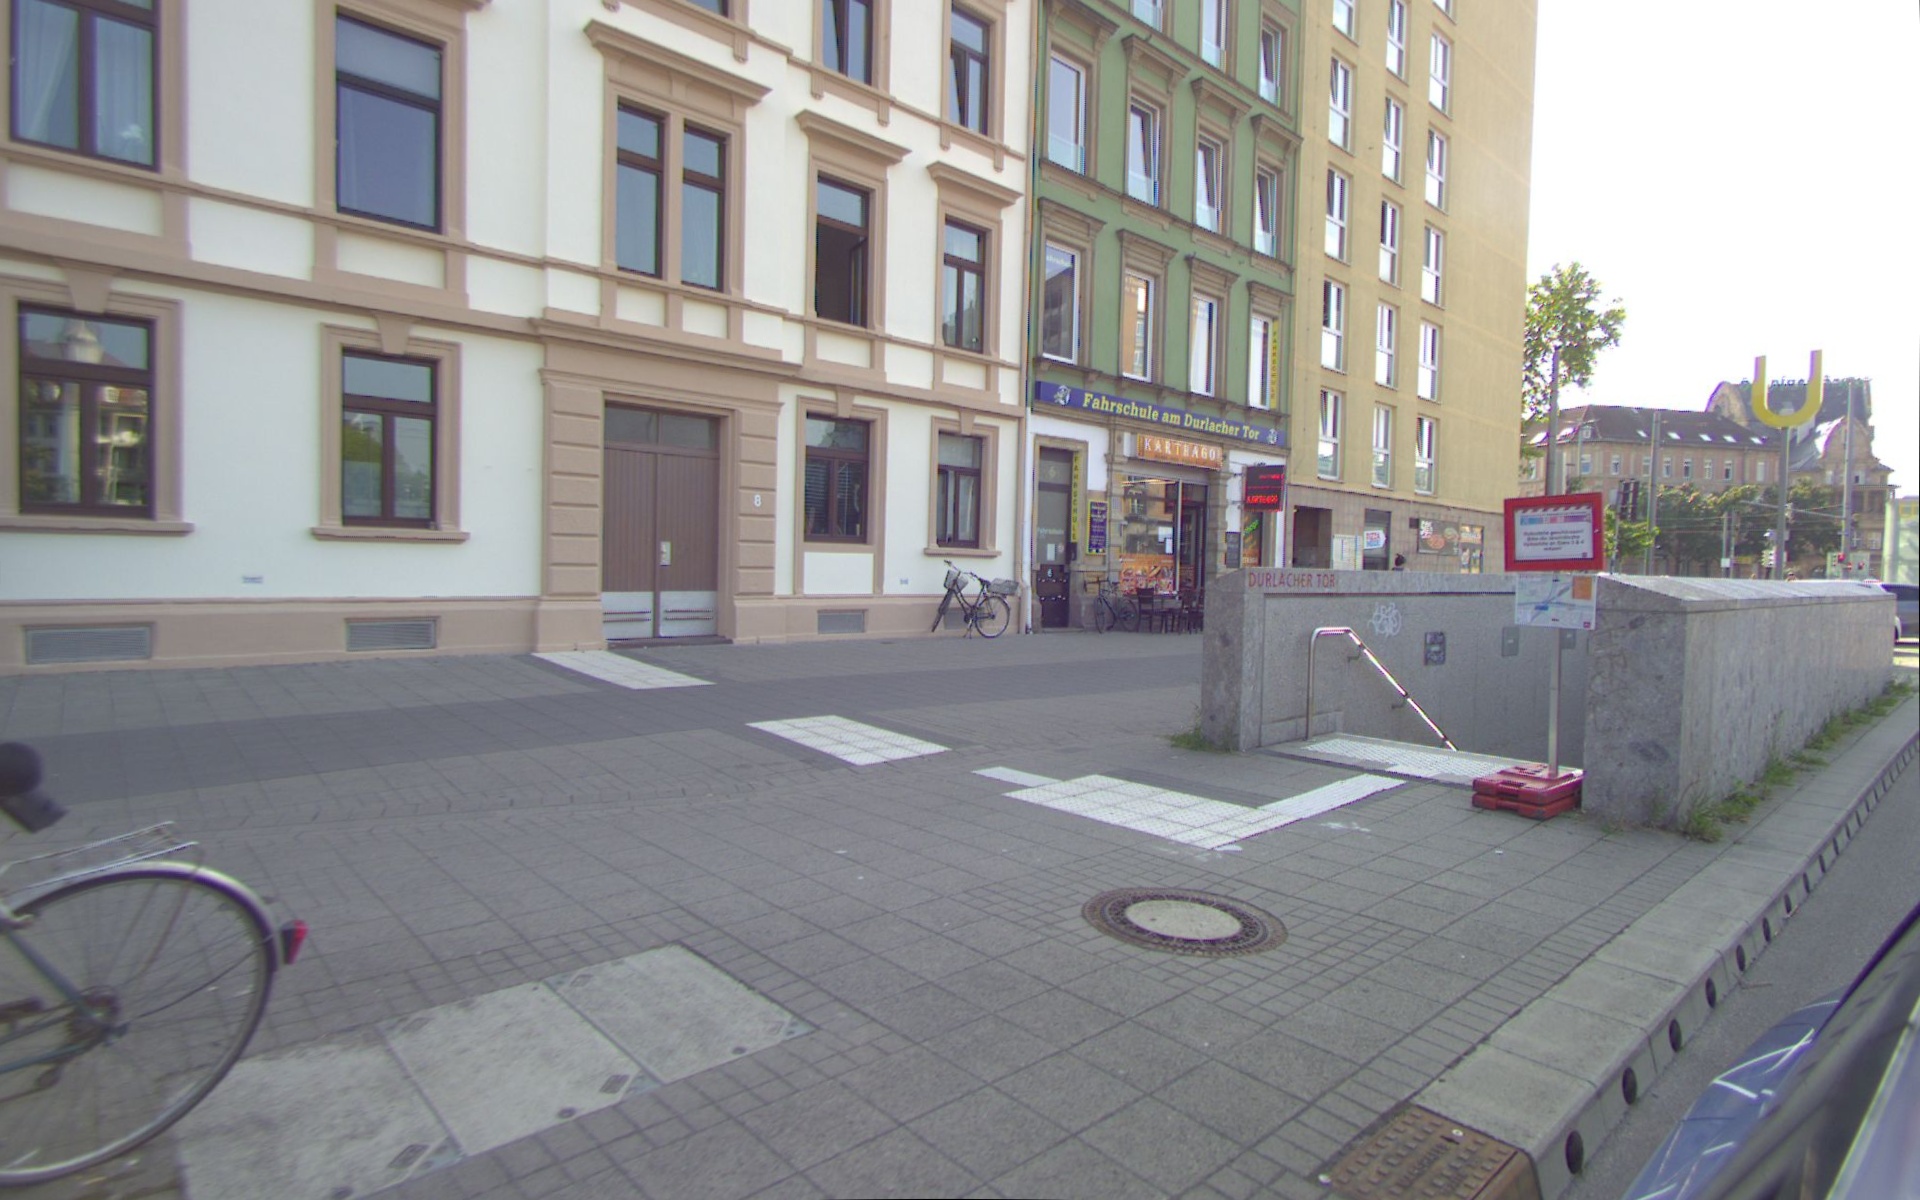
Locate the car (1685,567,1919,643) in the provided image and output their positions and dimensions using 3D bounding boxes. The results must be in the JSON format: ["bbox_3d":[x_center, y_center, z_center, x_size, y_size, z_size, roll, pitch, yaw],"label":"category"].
[{"bbox_3d":[17.868,0.073,21.596,3.468,1.482,1.621,1,2,7],"label":"car"}]

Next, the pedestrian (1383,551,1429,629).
[{"bbox_3d":[9.652,-0.224,21.895,0.724,1.649,0.610,0,2,-41],"label":"pedestrian"}]

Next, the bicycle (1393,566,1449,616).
[{"bbox_3d":[12.272,-0.258,26.916,1.963,1.276,0.603,-1,3,-42],"label":"bicycle"}]

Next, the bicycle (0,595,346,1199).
[{"bbox_3d":[-2.071,0.594,1.800,0.407,1.162,1.631,3,3,42],"label":"bicycle"}]

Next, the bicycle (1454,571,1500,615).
[{"bbox_3d":[15.479,-0.214,30.290,1.818,1.276,0.603,-1,3,-43],"label":"bicycle"}]

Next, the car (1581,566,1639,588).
[{"bbox_3d":[59.818,-2.126,93.204,1.757,1.909,4.300,3,2,-14],"label":"car"}]

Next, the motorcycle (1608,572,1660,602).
[{"bbox_3d":[27.680,-0.526,41.577,2.254,1.161,0.707,0,2,-26],"label":"motorcycle"}]

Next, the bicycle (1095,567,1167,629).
[{"bbox_3d":[3.307,-0.048,19.510,1.690,1.148,0.384,-1,3,-42],"label":"bicycle"}]

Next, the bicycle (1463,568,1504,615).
[{"bbox_3d":[14.712,-0.256,28.420,0.602,1.276,1.969,3,3,40],"label":"bicycle"}]

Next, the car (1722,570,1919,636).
[{"bbox_3d":[21.043,0.055,24.002,4.334,1.441,1.845,1,2,7],"label":"car"}]

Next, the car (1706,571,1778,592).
[{"bbox_3d":[62.543,-1.508,80.999,1.638,1.483,4.300,3,2,-18],"label":"car"}]

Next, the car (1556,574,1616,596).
[{"bbox_3d":[46.734,-1.157,75.576,1.766,1.459,3.639,1,2,-11],"label":"car"}]

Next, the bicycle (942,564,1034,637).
[{"bbox_3d":[0.479,-0.001,16.747,1.690,1.148,0.384,-1,3,-42],"label":"bicycle"}]

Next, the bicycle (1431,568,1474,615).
[{"bbox_3d":[13.993,-0.262,28.737,0.602,1.276,1.969,3,3,40],"label":"bicycle"}]
